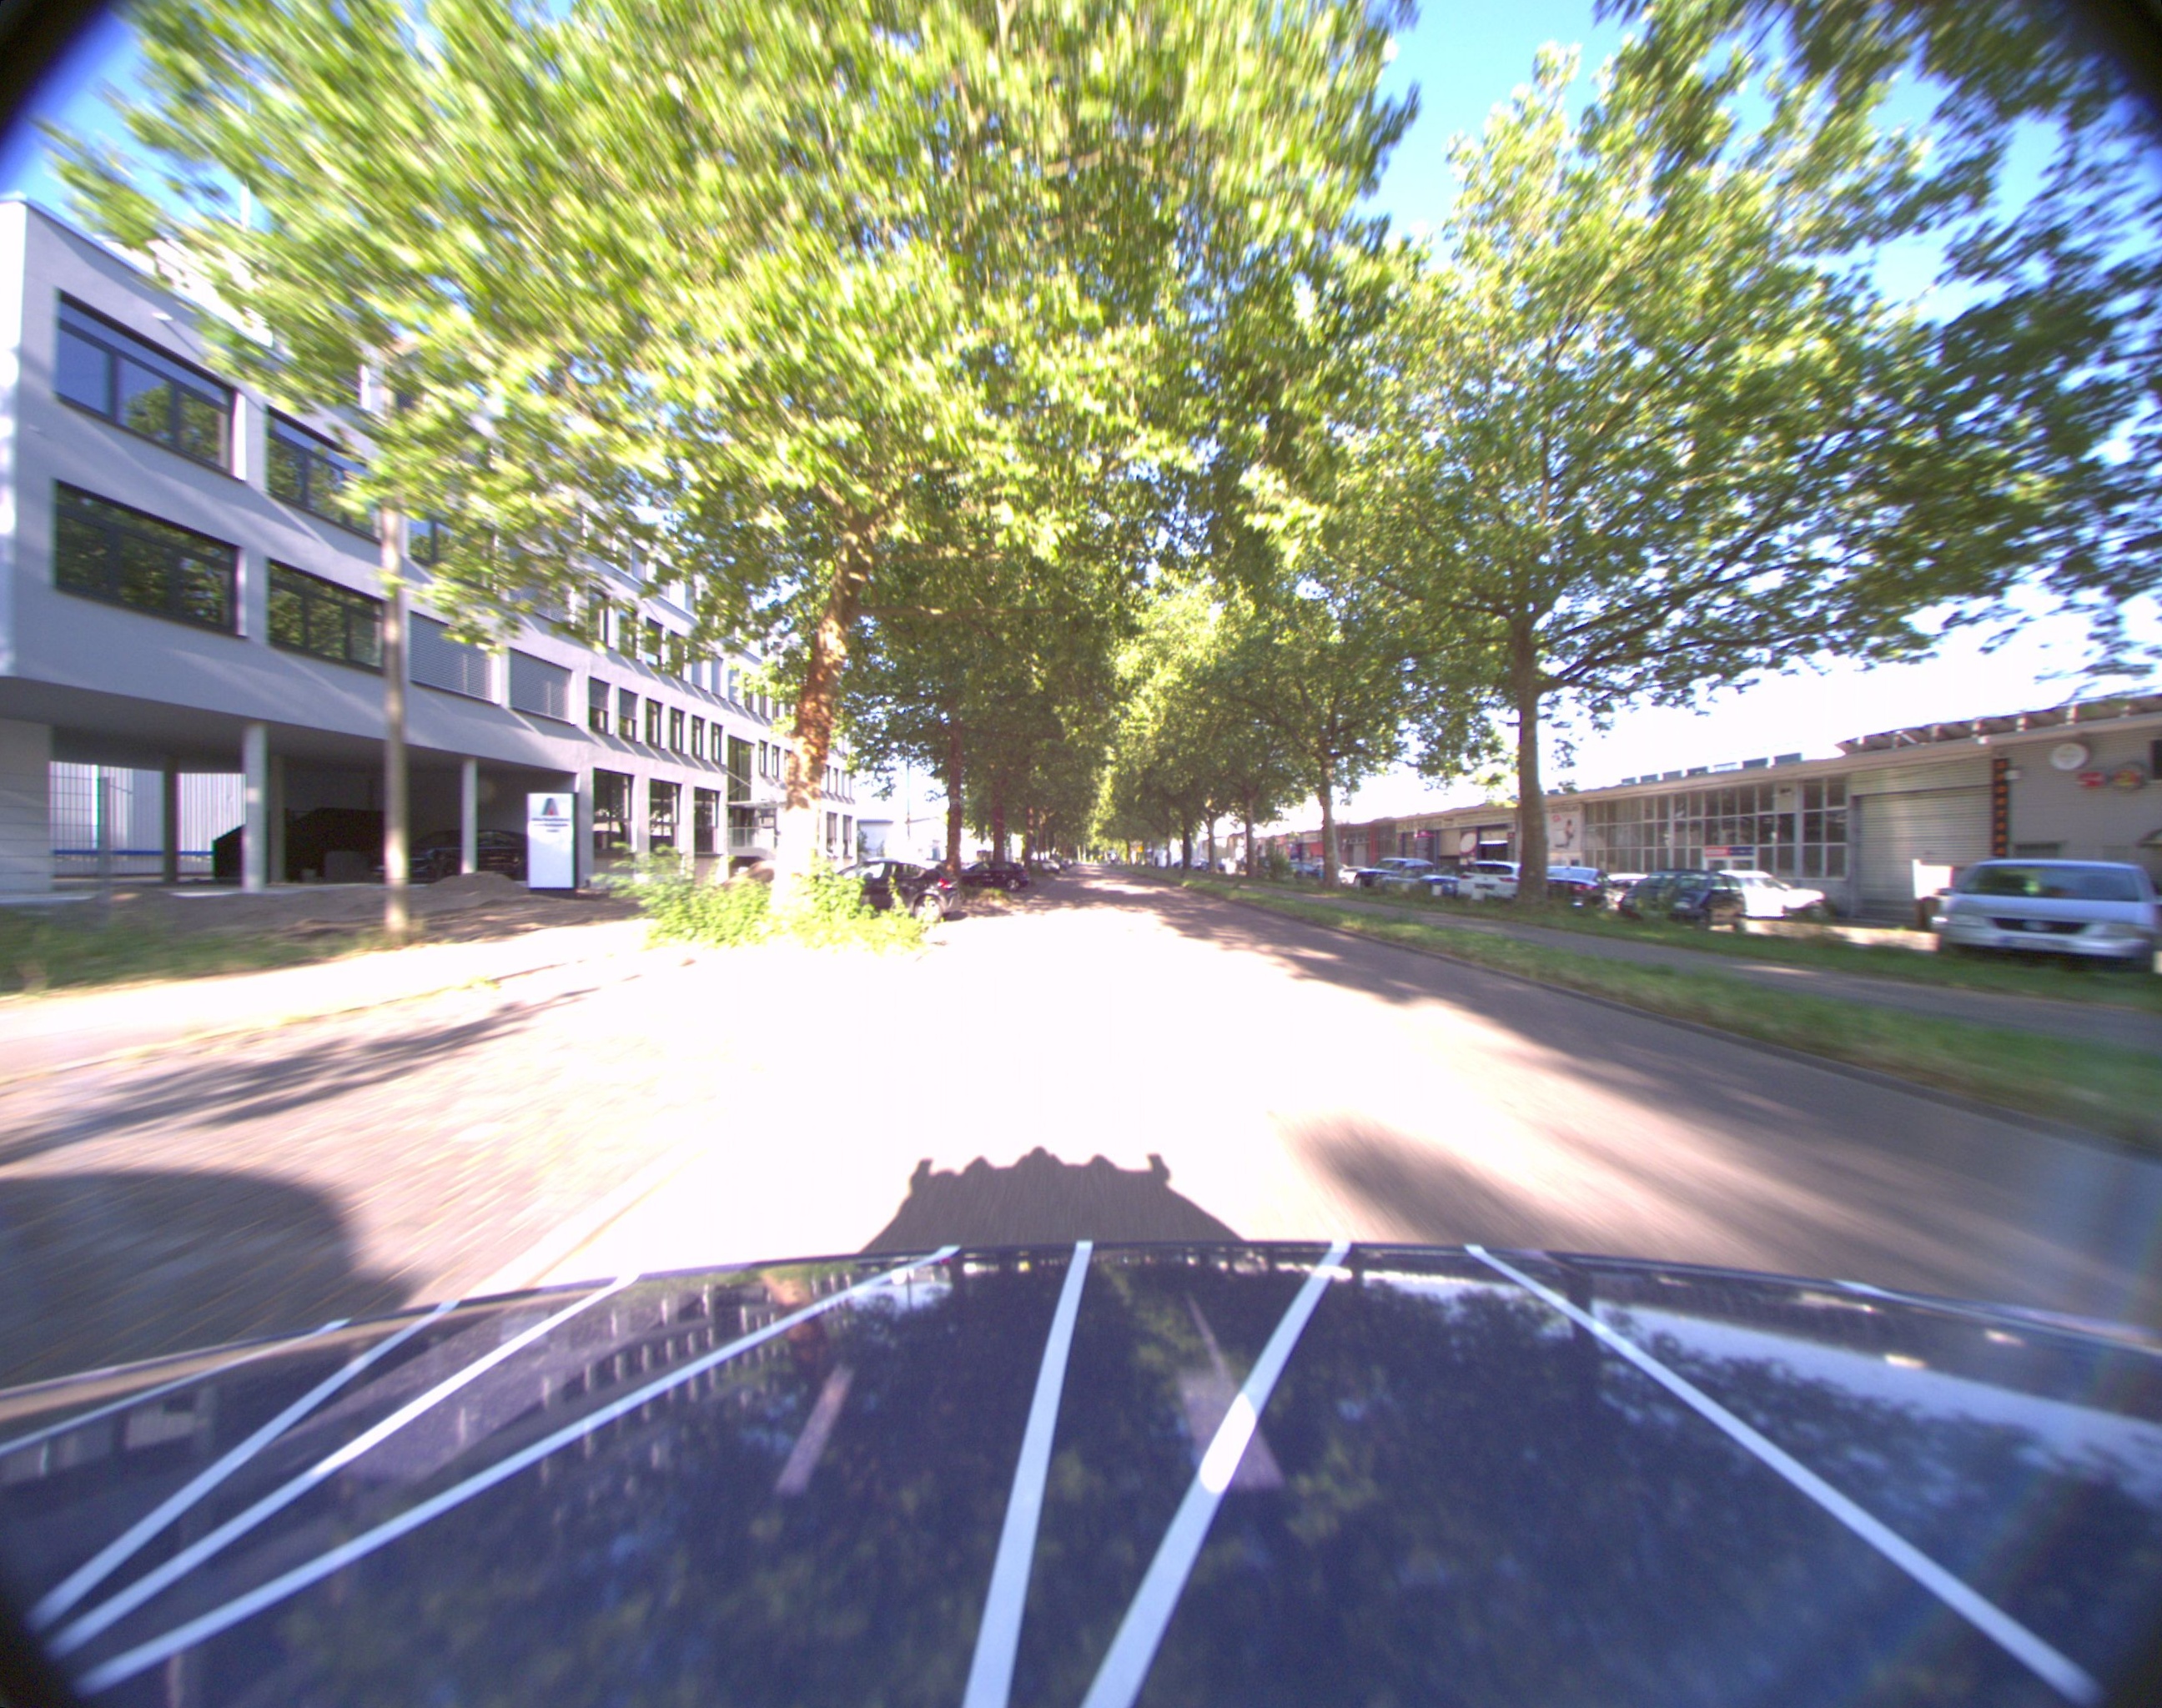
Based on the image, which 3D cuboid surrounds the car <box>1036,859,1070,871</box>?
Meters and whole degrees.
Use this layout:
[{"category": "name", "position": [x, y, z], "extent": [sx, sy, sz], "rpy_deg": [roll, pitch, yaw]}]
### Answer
[{"category": "car", "position": [-3.807, 1.477, 102.720], "extent": [4.405, 1.410, 1.999], "rpy_deg": [3, 0, -5]}]

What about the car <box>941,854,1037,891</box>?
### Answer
[{"category": "car", "position": [-4.333, 0.860, 36.329], "extent": [4.295, 1.477, 1.860], "rpy_deg": [4, 0, -1]}]

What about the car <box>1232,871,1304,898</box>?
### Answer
[{"category": "car", "position": [13.837, 2.237, 56.111], "extent": [4.905, 1.749, 1.996], "rpy_deg": [-2, 0, -23]}]

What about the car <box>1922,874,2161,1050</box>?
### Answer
[{"category": "car", "position": [13.060, 1.227, 10.173], "extent": [4.492, 1.720, 1.995], "rpy_deg": [-2, 0, -37]}]

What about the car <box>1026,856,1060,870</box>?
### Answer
[{"category": "car", "position": [-4.445, 1.070, 89.186], "extent": [3.944, 1.504, 1.667], "rpy_deg": [2, 0, 0]}]

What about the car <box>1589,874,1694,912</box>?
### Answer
[{"category": "car", "position": [22.243, 1.517, 30.284], "extent": [3.289, 1.377, 1.556], "rpy_deg": [-1, 0, 35]}]

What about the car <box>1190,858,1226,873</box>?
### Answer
[{"category": "car", "position": [14.011, 1.249, 83.605], "extent": [1.994, 1.565, 3.850], "rpy_deg": [-1, 0, 45]}]

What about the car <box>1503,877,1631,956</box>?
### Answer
[{"category": "car", "position": [12.507, 1.480, 19.421], "extent": [1.994, 1.620, 4.271], "rpy_deg": [-1, 0, 43]}]

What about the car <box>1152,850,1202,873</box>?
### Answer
[{"category": "car", "position": [14.097, 1.113, 111.127], "extent": [6.972, 2.835, 2.596], "rpy_deg": [4, -2, -28]}]

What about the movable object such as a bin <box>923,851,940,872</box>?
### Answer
[{"category": "movable object such as a bin", "position": [-9.867, 0.461, 50.151], "extent": [0.749, 1.343, 1.620], "rpy_deg": [-1, 0, 1]}]

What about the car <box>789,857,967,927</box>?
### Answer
[{"category": "car", "position": [-4.788, 0.881, 18.351], "extent": [3.794, 1.477, 1.860], "rpy_deg": [2, 0, -1]}]

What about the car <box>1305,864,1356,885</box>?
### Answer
[{"category": "car", "position": [22.068, 1.804, 67.163], "extent": [3.990, 1.696, 2.003], "rpy_deg": [-1, 0, 28]}]

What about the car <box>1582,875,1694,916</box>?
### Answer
[{"category": "car", "position": [20.912, 1.506, 28.569], "extent": [3.289, 1.398, 1.712], "rpy_deg": [-1, 0, 38]}]

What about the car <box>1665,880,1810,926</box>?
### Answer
[{"category": "car", "position": [21.857, 1.608, 25.444], "extent": [3.290, 1.398, 1.711], "rpy_deg": [-1, 0, 23]}]

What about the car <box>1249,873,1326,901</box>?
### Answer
[{"category": "car", "position": [13.033, 2.027, 47.901], "extent": [4.355, 1.521, 1.996], "rpy_deg": [-2, 0, -23]}]

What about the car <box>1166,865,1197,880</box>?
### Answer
[{"category": "car", "position": [12.960, 2.364, 97.622], "extent": [1.994, 1.829, 4.257], "rpy_deg": [-1, 0, 37]}]

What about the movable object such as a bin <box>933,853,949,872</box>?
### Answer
[{"category": "movable object such as a bin", "position": [-9.685, 0.561, 52.709], "extent": [0.749, 1.256, 1.611], "rpy_deg": [-1, 0, 1]}]

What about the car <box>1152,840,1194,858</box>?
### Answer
[{"category": "car", "position": [14.834, -0.774, 122.845], "extent": [6.338, 2.482, 2.595], "rpy_deg": [4, -2, -29]}]

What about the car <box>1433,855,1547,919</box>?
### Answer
[{"category": "car", "position": [12.608, 0.932, 23.301], "extent": [1.994, 1.689, 4.271], "rpy_deg": [-1, 0, 44]}]

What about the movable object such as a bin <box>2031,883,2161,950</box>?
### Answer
[{"category": "movable object such as a bin", "position": [24.014, 1.435, 17.972], "extent": [1.059, 1.423, 1.627], "rpy_deg": [-1, 0, -2]}]

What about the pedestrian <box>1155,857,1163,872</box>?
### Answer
[{"category": "pedestrian", "position": [9.514, 1.245, 92.724], "extent": [0.805, 1.762, 0.940], "rpy_deg": [-1, 1, 2]}]

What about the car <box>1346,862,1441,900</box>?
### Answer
[{"category": "car", "position": [13.815, 1.132, 33.547], "extent": [4.270, 1.443, 1.995], "rpy_deg": [-2, 0, -37]}]

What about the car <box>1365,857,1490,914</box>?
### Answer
[{"category": "car", "position": [11.951, 1.017, 26.142], "extent": [4.006, 1.740, 1.995], "rpy_deg": [-2, 0, -32]}]

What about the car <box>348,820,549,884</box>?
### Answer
[{"category": "car", "position": [-19.292, -0.061, 23.514], "extent": [1.998, 1.721, 4.670], "rpy_deg": [-1, 0, 5]}]

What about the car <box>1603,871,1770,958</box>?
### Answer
[{"category": "car", "position": [14.095, 1.293, 17.614], "extent": [4.270, 1.620, 1.995], "rpy_deg": [-2, 0, -37]}]

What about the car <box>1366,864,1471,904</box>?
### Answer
[{"category": "car", "position": [13.534, 1.154, 30.374], "extent": [4.270, 1.374, 1.995], "rpy_deg": [-2, 0, -37]}]

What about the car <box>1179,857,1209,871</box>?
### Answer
[{"category": "car", "position": [13.970, 1.214, 93.777], "extent": [1.994, 1.561, 4.059], "rpy_deg": [-1, 0, 37]}]

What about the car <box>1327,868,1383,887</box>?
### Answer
[{"category": "car", "position": [22.113, 1.907, 61.381], "extent": [3.990, 1.433, 2.003], "rpy_deg": [-1, 0, 28]}]
